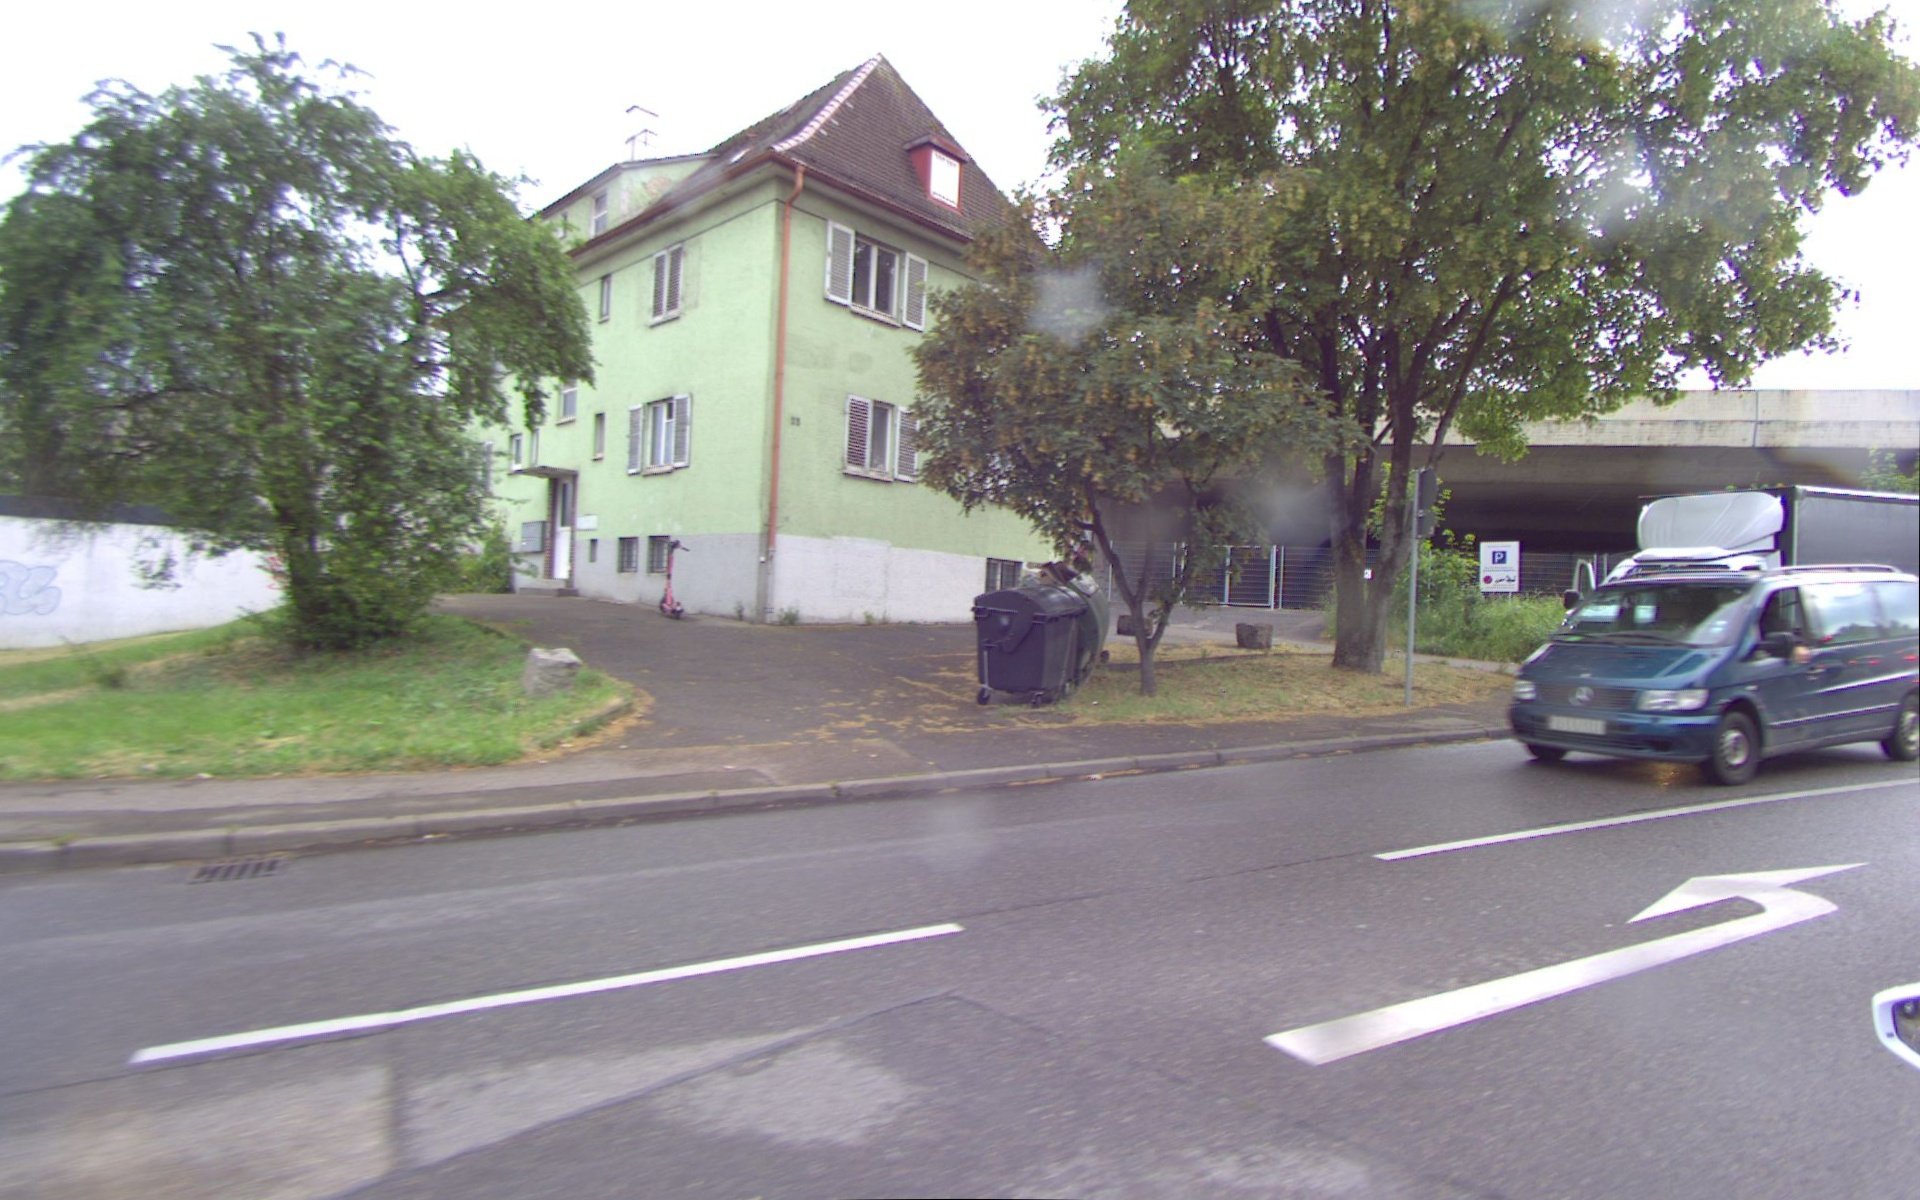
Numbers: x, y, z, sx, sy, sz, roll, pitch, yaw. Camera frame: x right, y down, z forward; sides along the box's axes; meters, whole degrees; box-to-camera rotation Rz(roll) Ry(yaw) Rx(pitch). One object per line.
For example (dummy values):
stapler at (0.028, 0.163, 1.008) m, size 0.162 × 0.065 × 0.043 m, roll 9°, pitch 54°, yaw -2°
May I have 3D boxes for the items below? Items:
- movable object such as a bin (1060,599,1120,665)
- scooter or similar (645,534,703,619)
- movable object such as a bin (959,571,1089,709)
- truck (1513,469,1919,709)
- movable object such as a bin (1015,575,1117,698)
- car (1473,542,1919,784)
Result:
movable object such as a bin at (1.989, 0.486, 15.402) m, size 0.714 × 0.970 × 0.555 m, roll 1°, pitch 0°, yaw -26°
scooter or similar at (-4.738, -0.410, 16.563) m, size 0.524 × 1.291 × 1.512 m, roll 1°, pitch 4°, yaw -30°
movable object such as a bin at (0.832, 0.448, 12.636) m, size 1.268 × 1.457 × 1.462 m, roll 4°, pitch 7°, yaw 17°
truck at (12.906, -0.097, 16.484) m, size 7.668 × 3.280 × 2.603 m, roll 1°, pitch 0°, yaw -24°
movable object such as a bin at (1.502, 0.463, 13.953) m, size 1.079 × 1.457 × 1.462 m, roll 4°, pitch 7°, yaw 17°
car at (7.552, 0.539, 9.981) m, size 4.620 × 1.957 × 1.952 m, roll 1°, pitch 0°, yaw -25°
